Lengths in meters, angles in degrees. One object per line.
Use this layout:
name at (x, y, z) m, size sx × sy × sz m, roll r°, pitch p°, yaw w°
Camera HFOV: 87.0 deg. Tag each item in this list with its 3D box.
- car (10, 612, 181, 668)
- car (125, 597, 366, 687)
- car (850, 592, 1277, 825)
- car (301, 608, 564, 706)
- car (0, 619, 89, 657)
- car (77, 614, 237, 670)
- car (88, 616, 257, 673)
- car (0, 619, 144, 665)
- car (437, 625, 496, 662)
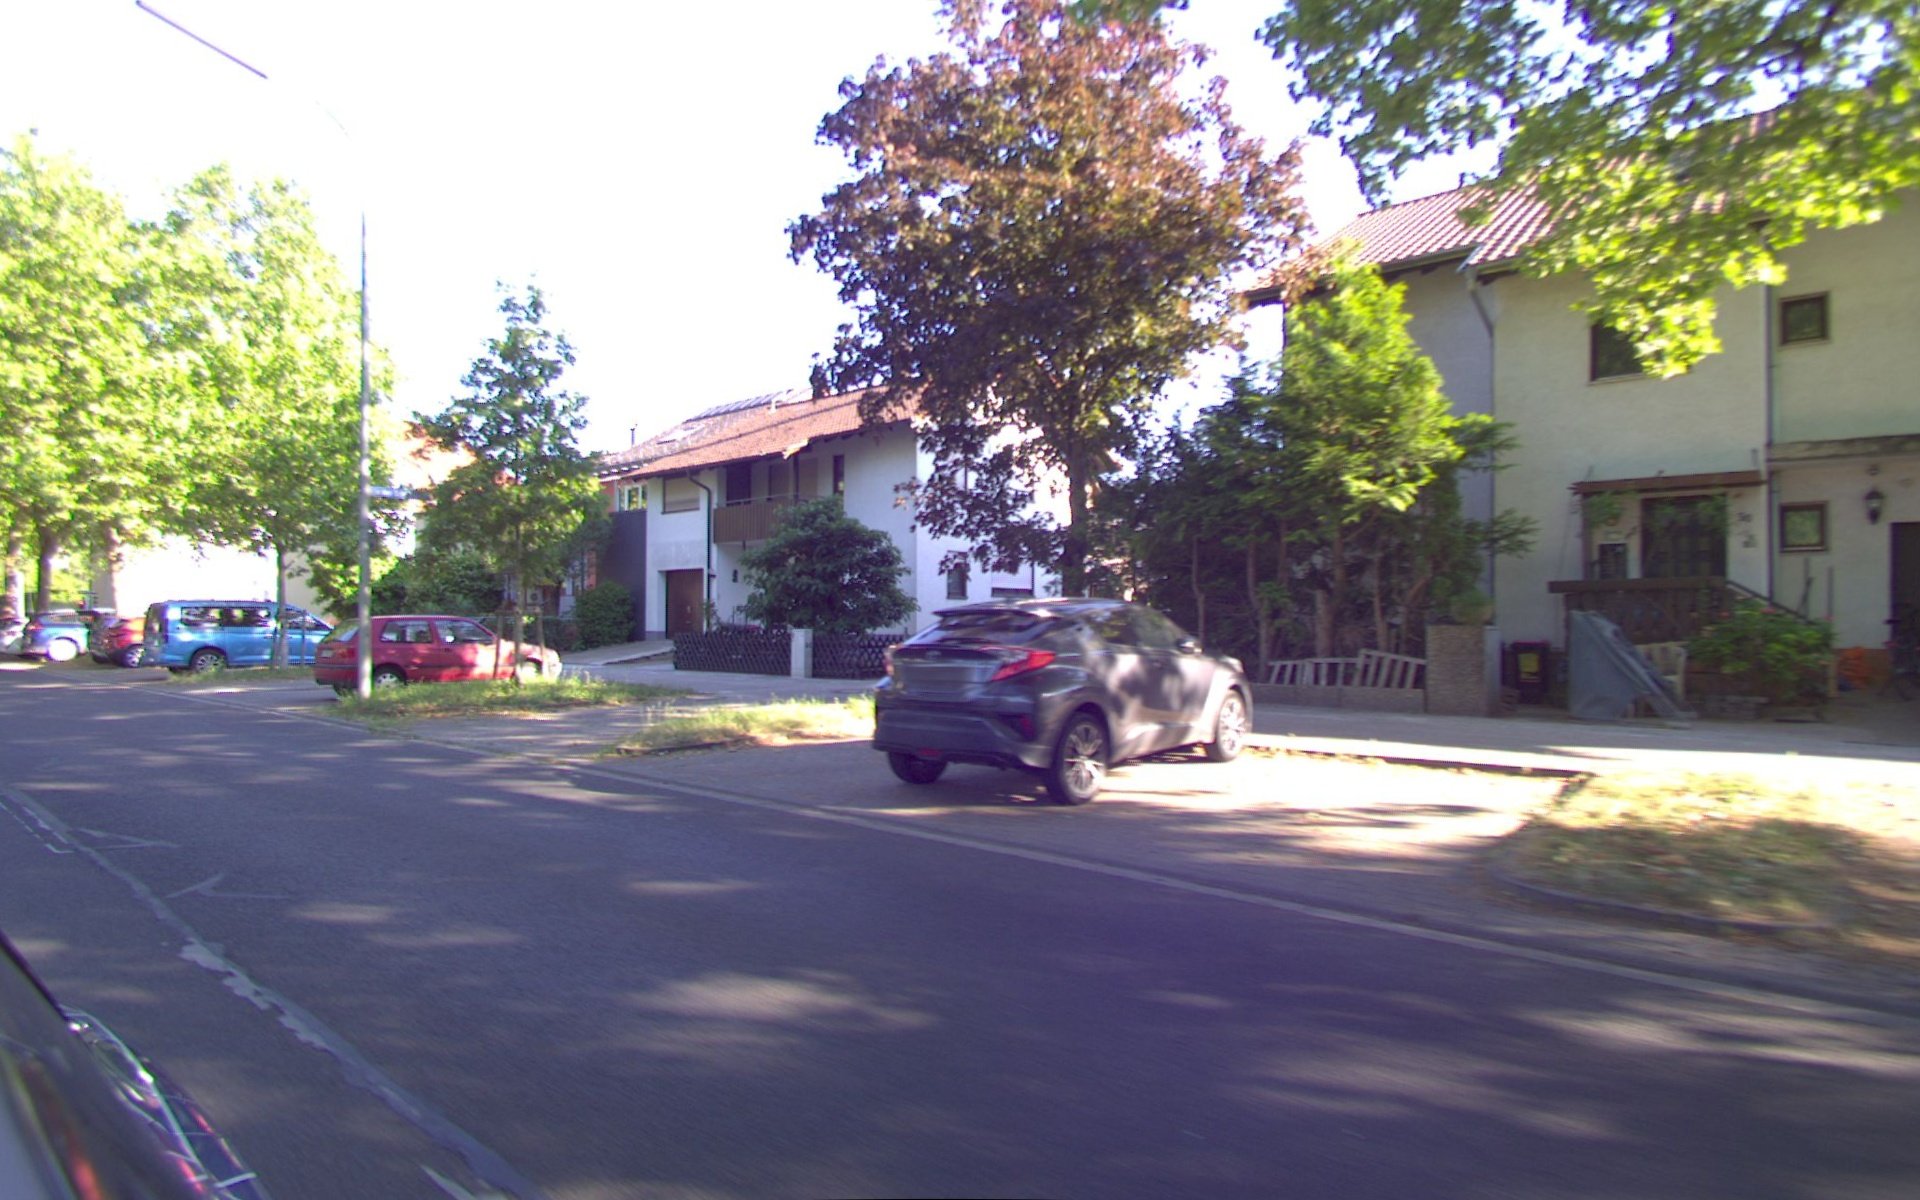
car at (-28.732, 1.282, 33.734) m, size 1.829 × 1.729 × 4.053 m, roll -1°, pitch -1°, yaw 38°
car at (-17.182, 0.921, 24.532) m, size 1.992 × 1.838 × 4.346 m, roll -1°, pitch 1°, yaw 36°
car at (1.095, 0.725, 8.764) m, size 1.815 × 1.530 × 3.949 m, roll -1°, pitch -1°, yaw 39°
car at (-9.267, 0.920, 18.047) m, size 1.662 × 1.530 × 3.836 m, roll -1°, pitch 0°, yaw 36°
car at (-40.060, 1.616, 43.439) m, size 1.828 × 1.546 × 3.731 m, roll -1°, pitch -1°, yaw 35°
car at (-24.590, 1.242, 31.089) m, size 1.722 × 1.528 × 3.483 m, roll -1°, pitch 0°, yaw 34°
car at (-22.919, 1.251, 29.552) m, size 1.779 × 1.528 × 3.607 m, roll -1°, pitch -1°, yaw 38°
car at (-32.584, 1.483, 36.891) m, size 1.872 × 1.512 × 4.124 m, roll -1°, pitch -1°, yaw 36°
car at (-15.512, 1.363, 31.837) m, size 0.699 × 1.125 × 1.499 m, roll -1°, pitch -1°, yaw 39°
